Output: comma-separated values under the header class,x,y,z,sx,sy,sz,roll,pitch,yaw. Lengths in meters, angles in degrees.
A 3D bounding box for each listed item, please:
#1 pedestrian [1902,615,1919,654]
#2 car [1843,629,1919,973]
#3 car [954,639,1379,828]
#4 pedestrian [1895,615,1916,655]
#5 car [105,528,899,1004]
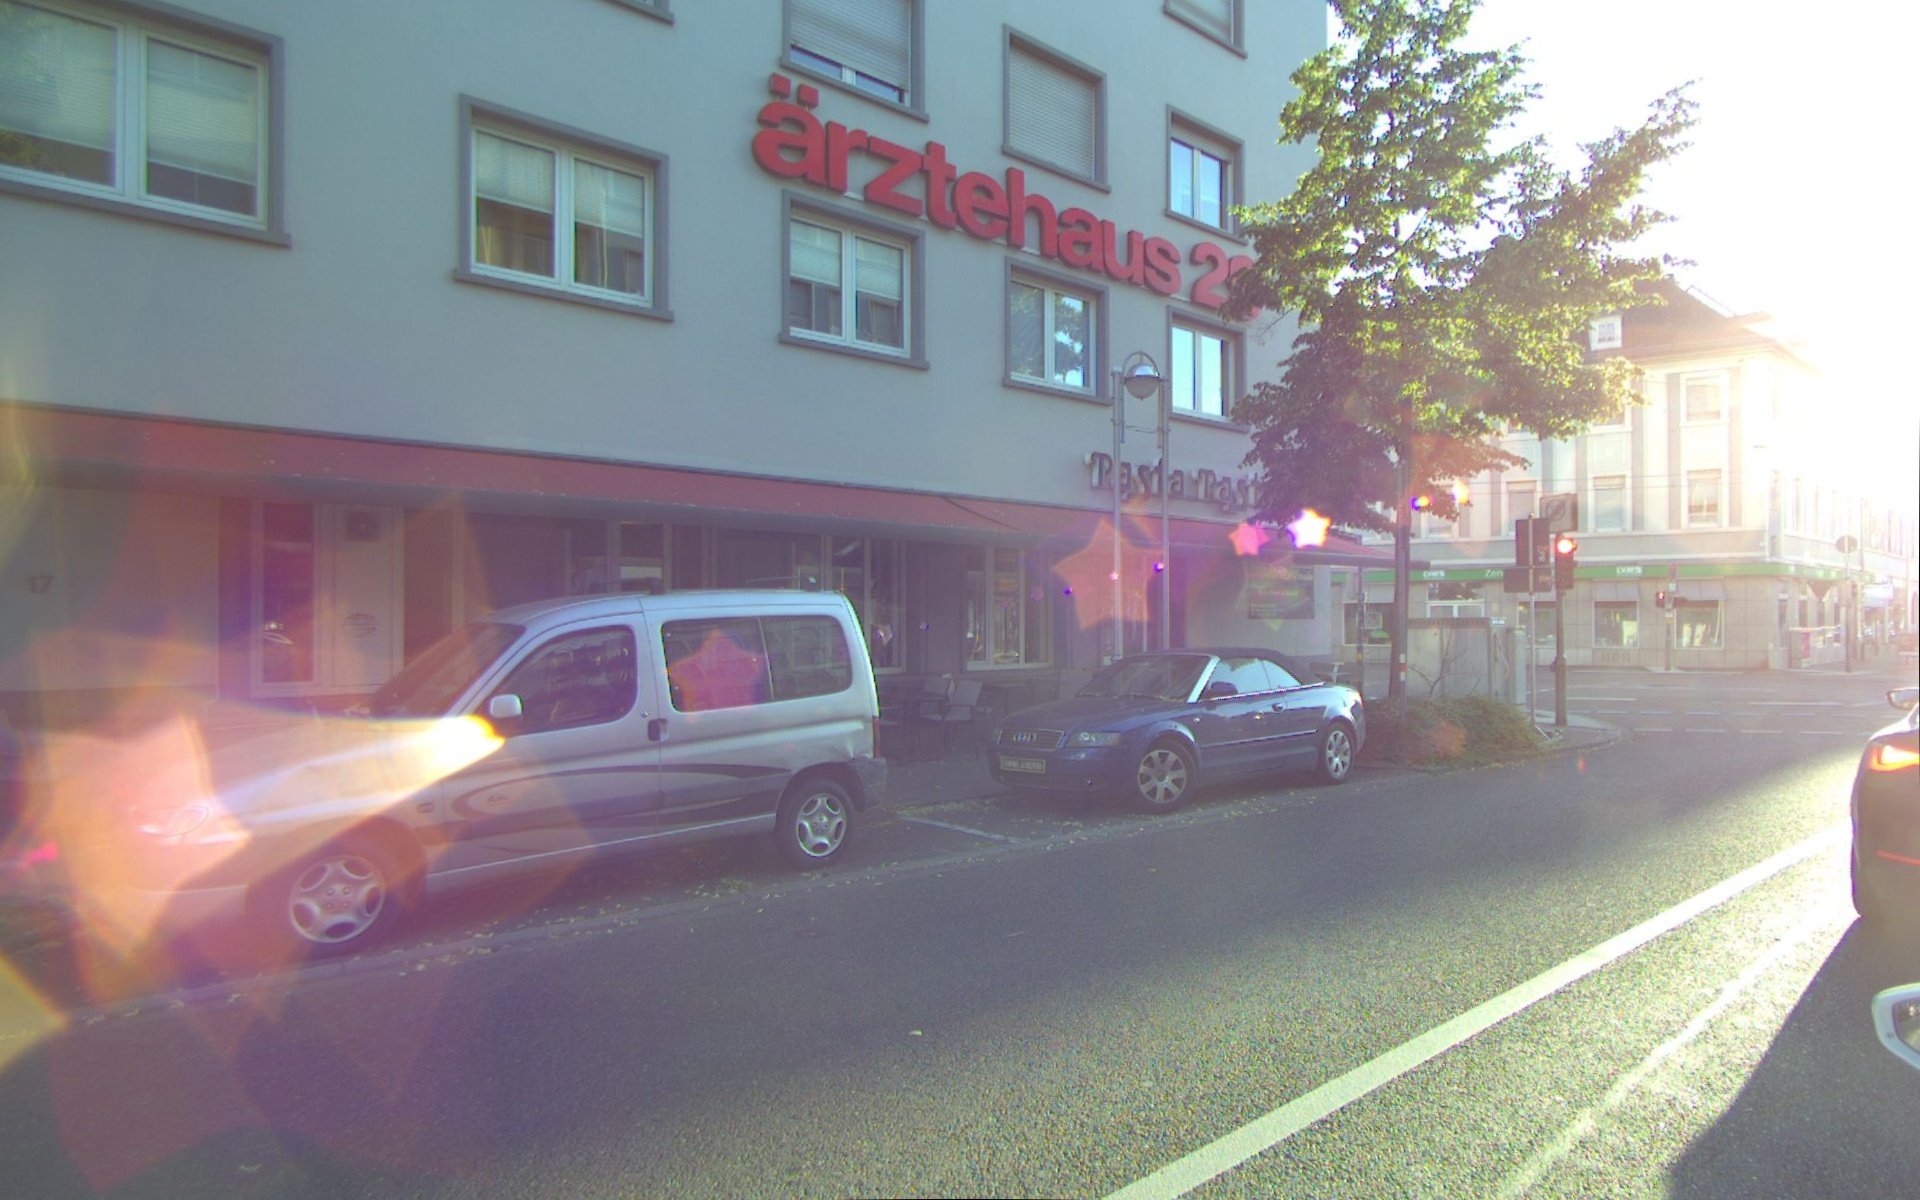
class,x,y,z,sx,sy,sz,roll,pitch,yaw
pedestrian,47.186,1.723,49.787,0.608,1.901,0.675,1,0,39
car,6.068,0.892,5.109,4.188,1.447,1.723,1,-1,-39
car,2.124,1.118,9.695,4.244,1.434,1.710,2,-4,-39
pedestrian,46.465,1.707,49.353,0.626,1.901,0.638,1,0,-38
car,-2.460,0.750,6.022,4.022,1.912,1.655,2,-4,-41
